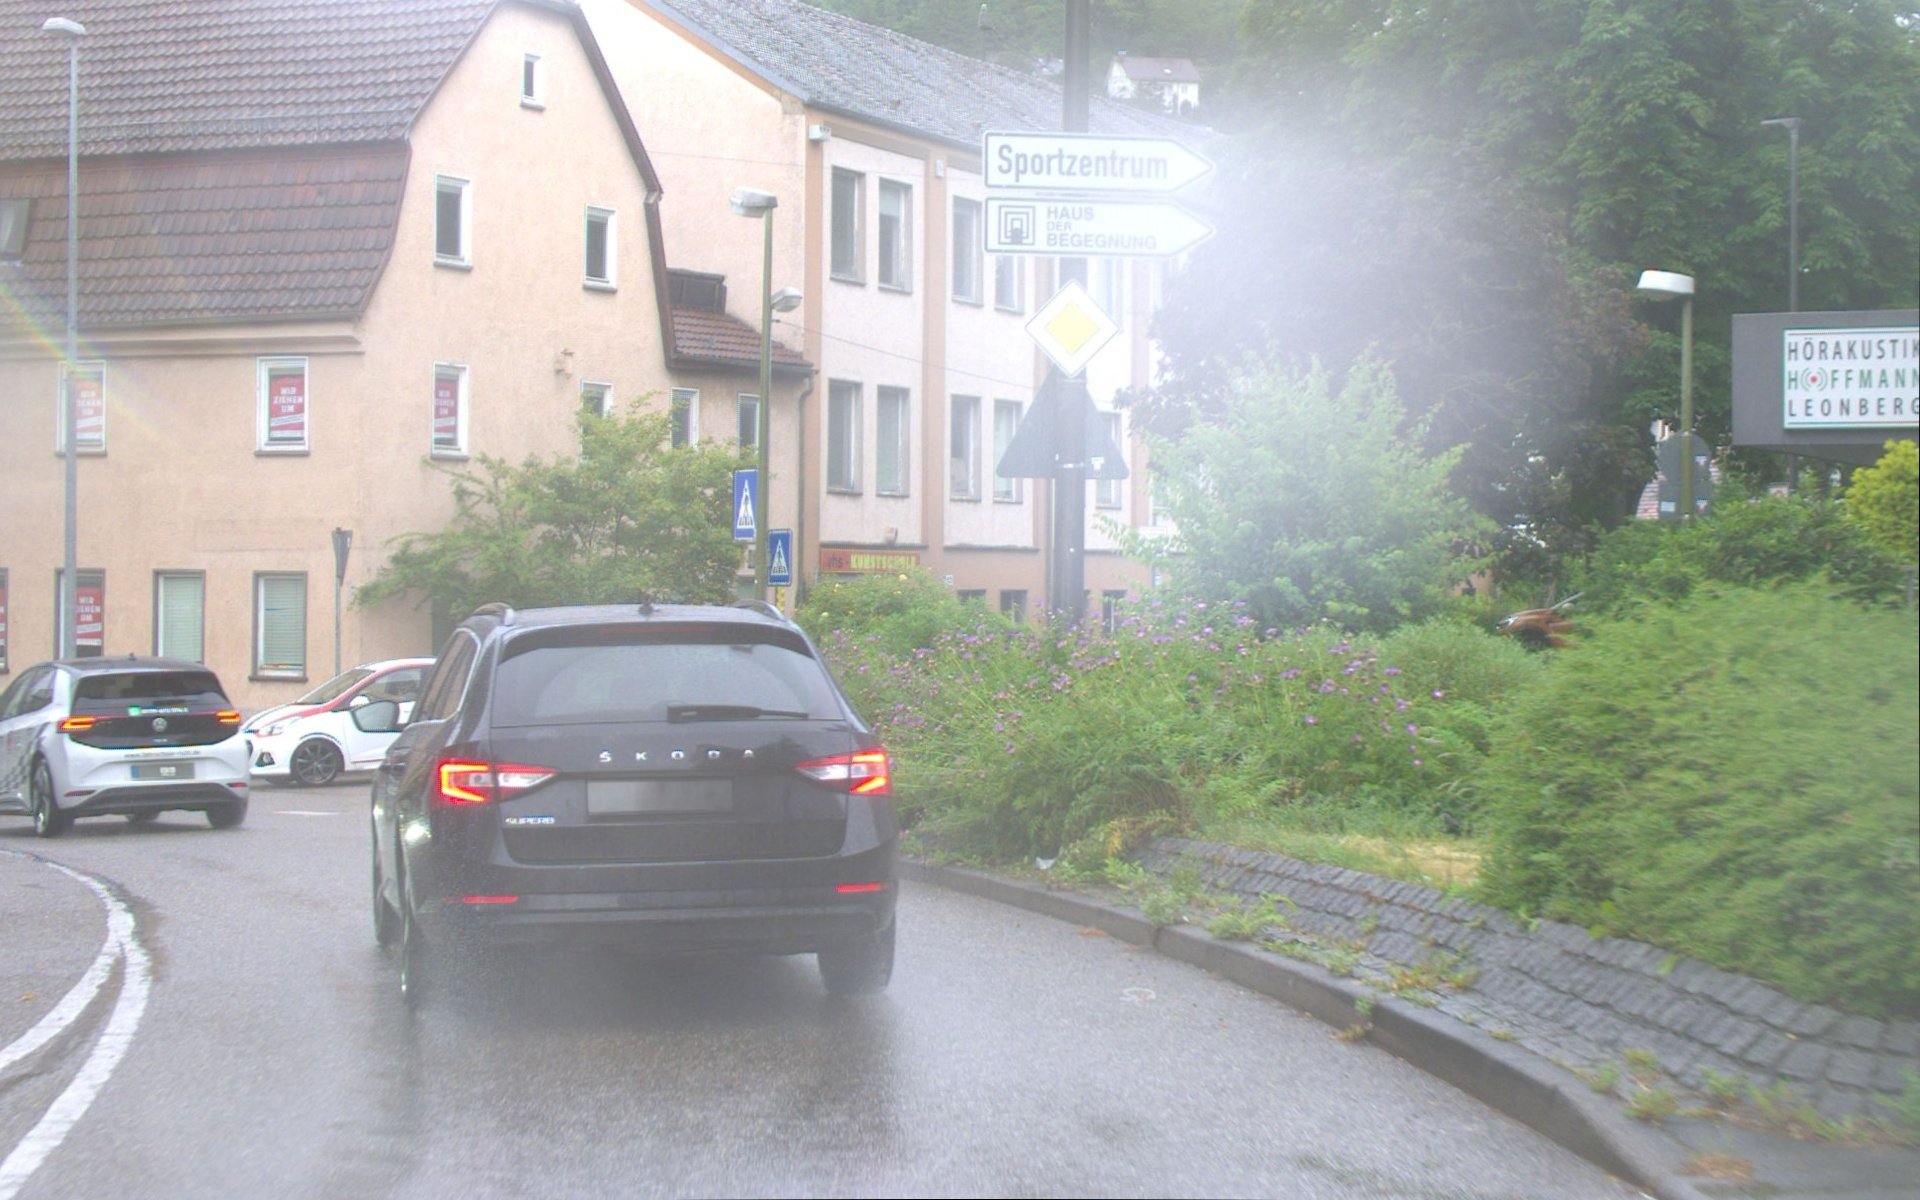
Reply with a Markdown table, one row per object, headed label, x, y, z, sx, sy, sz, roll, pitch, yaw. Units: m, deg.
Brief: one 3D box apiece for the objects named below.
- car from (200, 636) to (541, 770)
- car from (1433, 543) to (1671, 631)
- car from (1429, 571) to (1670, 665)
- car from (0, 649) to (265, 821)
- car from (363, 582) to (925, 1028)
| label | x | y | z | sx | sy | sz | roll | pitch | yaw |
| --- | --- | --- | --- | --- | --- | --- | --- | --- | --- |
| car | -7.255 | 1.236 | 42.327 | 3.750 | 1.448 | 1.712 | -2 | 0 | -27 |
| car | 11.395 | -0.254 | 66.150 | 4.407 | 1.567 | 1.718 | -1 | 0 | 11 |
| car | 10.516 | 0.321 | 61.317 | 3.897 | 1.567 | 1.717 | -1 | 0 | 25 |
| car | -7.700 | 1.150 | 30.688 | 1.817 | 1.355 | 3.990 | 0 | 0 | -29 |
| car | -1.418 | 0.721 | 13.729 | 1.781 | 1.478 | 4.247 | 0 | -1 | -11 |
